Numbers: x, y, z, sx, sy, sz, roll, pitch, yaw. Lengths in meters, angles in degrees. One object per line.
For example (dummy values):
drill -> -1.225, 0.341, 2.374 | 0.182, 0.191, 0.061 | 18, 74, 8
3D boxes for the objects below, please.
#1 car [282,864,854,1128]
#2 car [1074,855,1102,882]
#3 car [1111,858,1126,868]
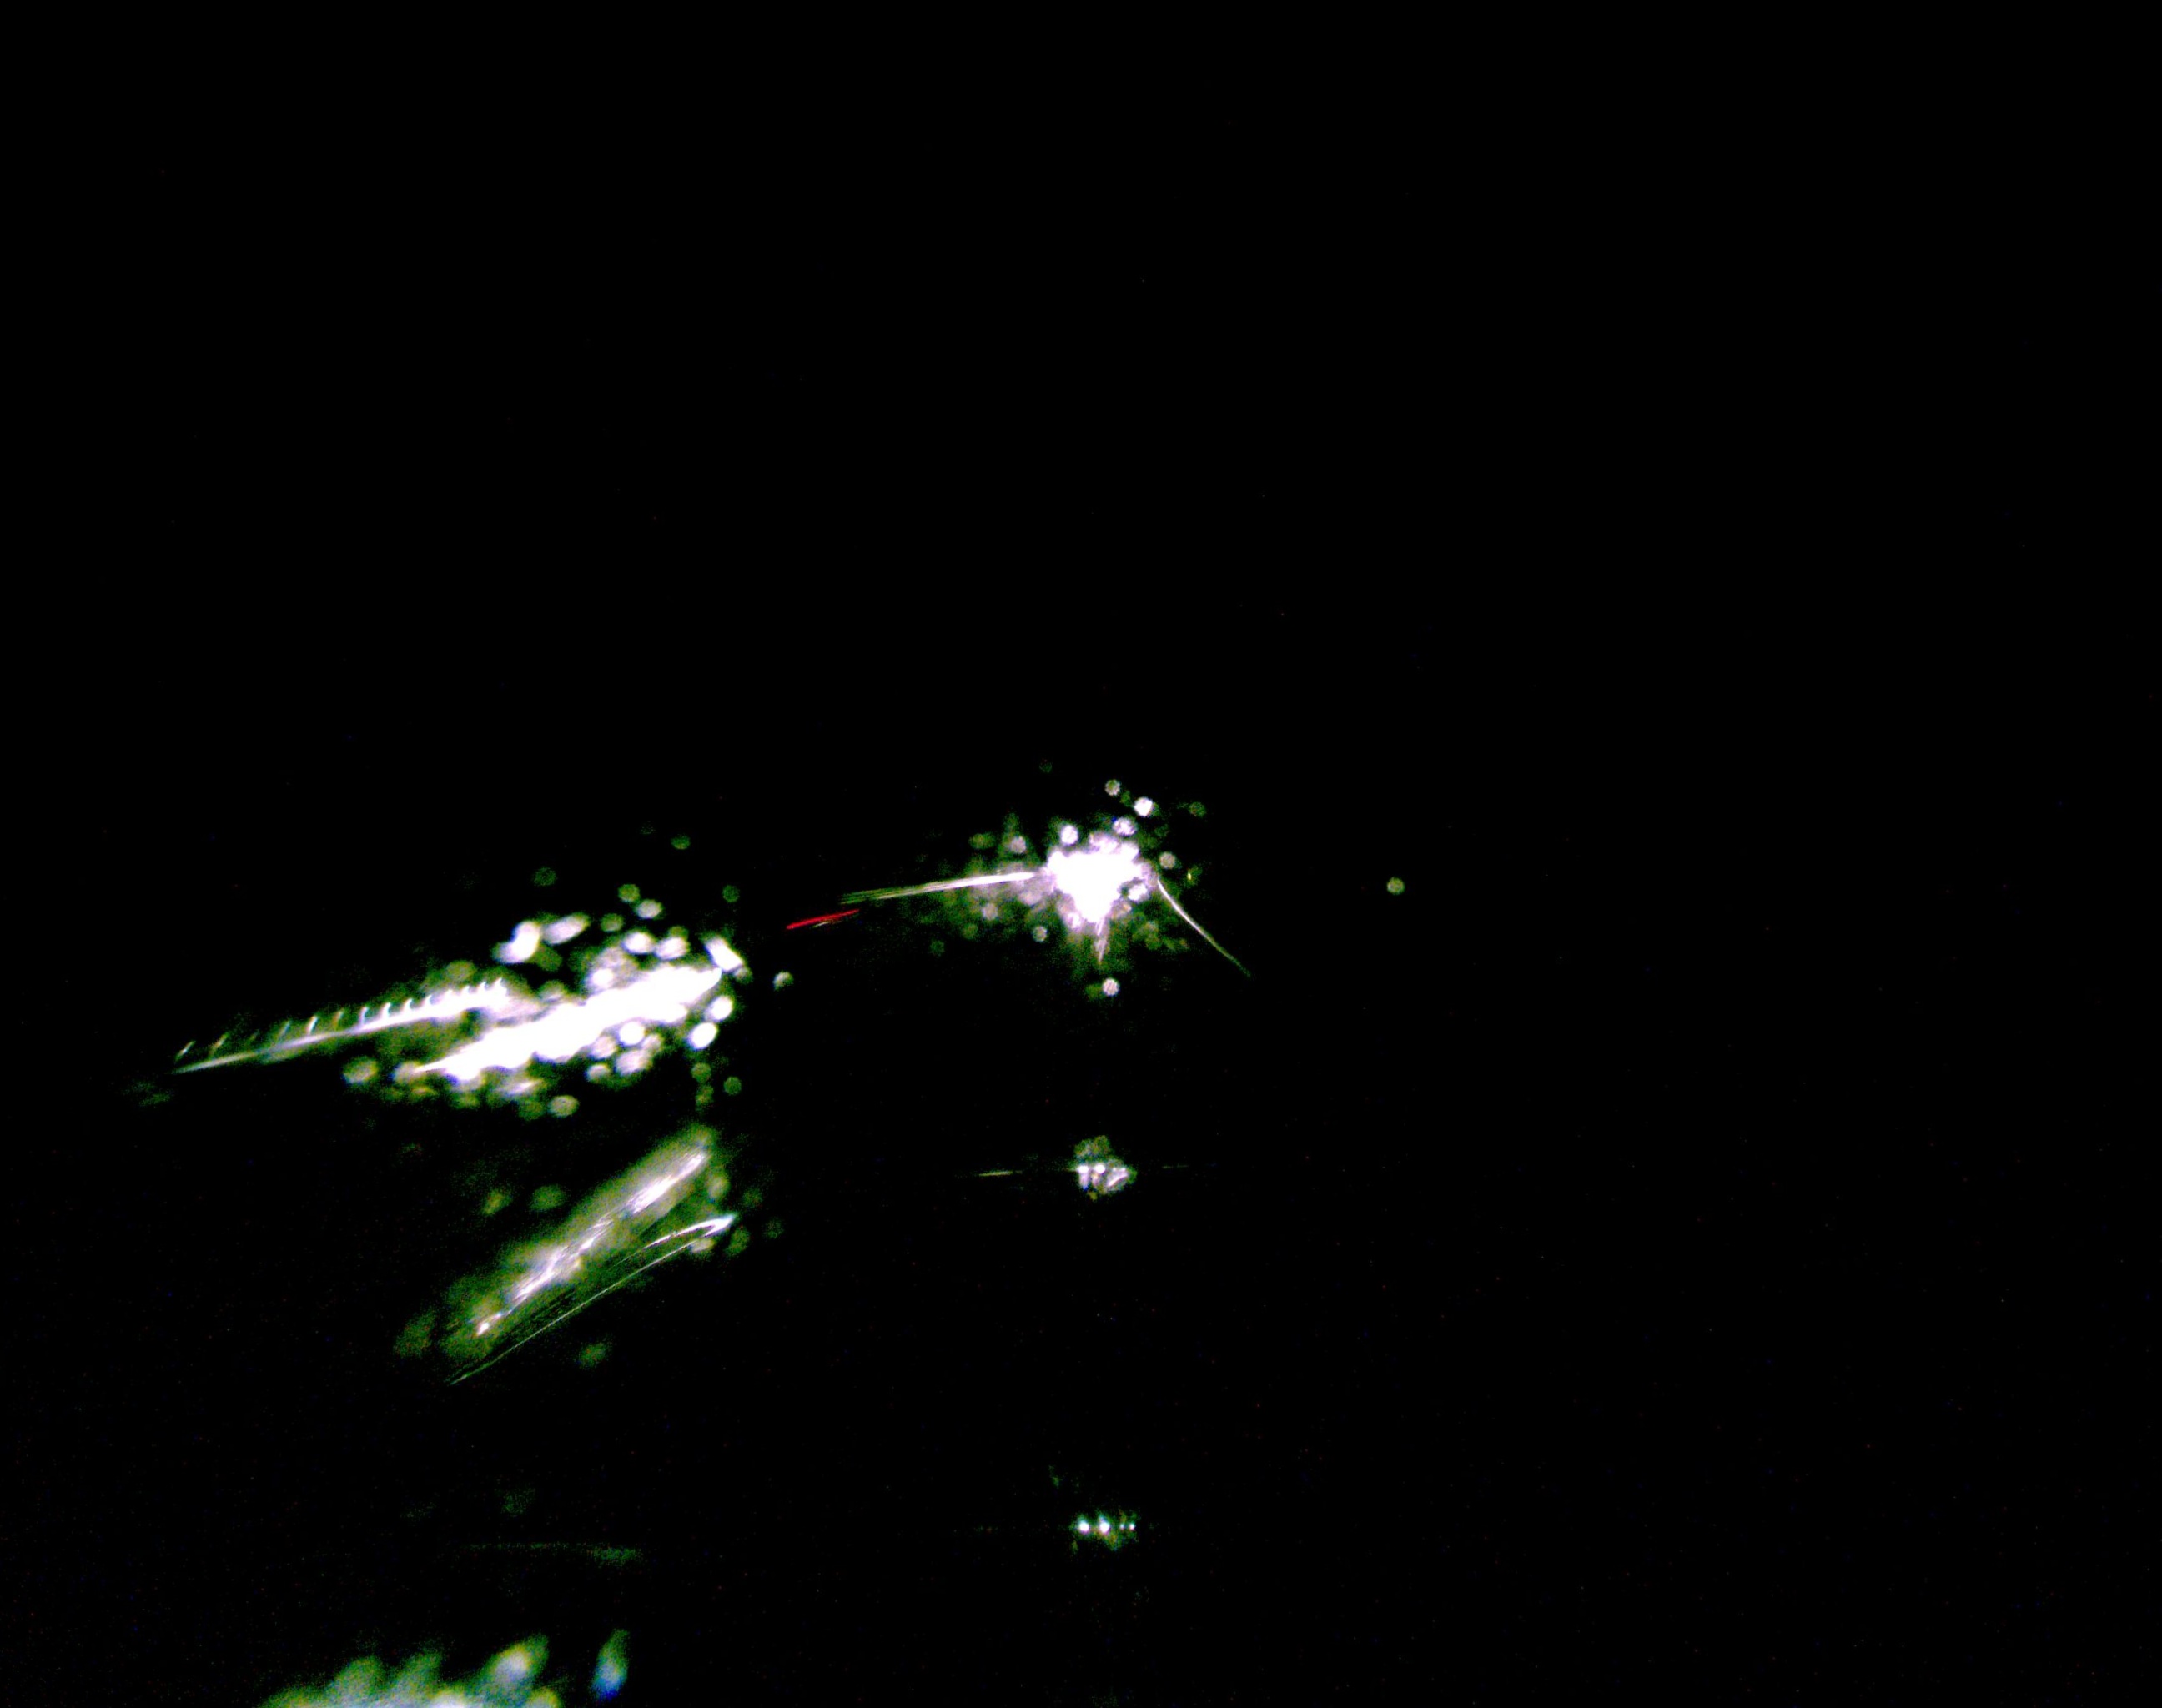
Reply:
car -> -3.409, 0.820, 6.472 | 1.986, 1.391, 3.848 | 0, 0, 2
car -> 0.586, 1.066, 62.124 | 1.846, 1.940, 4.004 | -1, 0, 4
car -> 5.677, 1.349, 122.544 | 1.908, 1.464, 4.265 | -1, 0, 5
